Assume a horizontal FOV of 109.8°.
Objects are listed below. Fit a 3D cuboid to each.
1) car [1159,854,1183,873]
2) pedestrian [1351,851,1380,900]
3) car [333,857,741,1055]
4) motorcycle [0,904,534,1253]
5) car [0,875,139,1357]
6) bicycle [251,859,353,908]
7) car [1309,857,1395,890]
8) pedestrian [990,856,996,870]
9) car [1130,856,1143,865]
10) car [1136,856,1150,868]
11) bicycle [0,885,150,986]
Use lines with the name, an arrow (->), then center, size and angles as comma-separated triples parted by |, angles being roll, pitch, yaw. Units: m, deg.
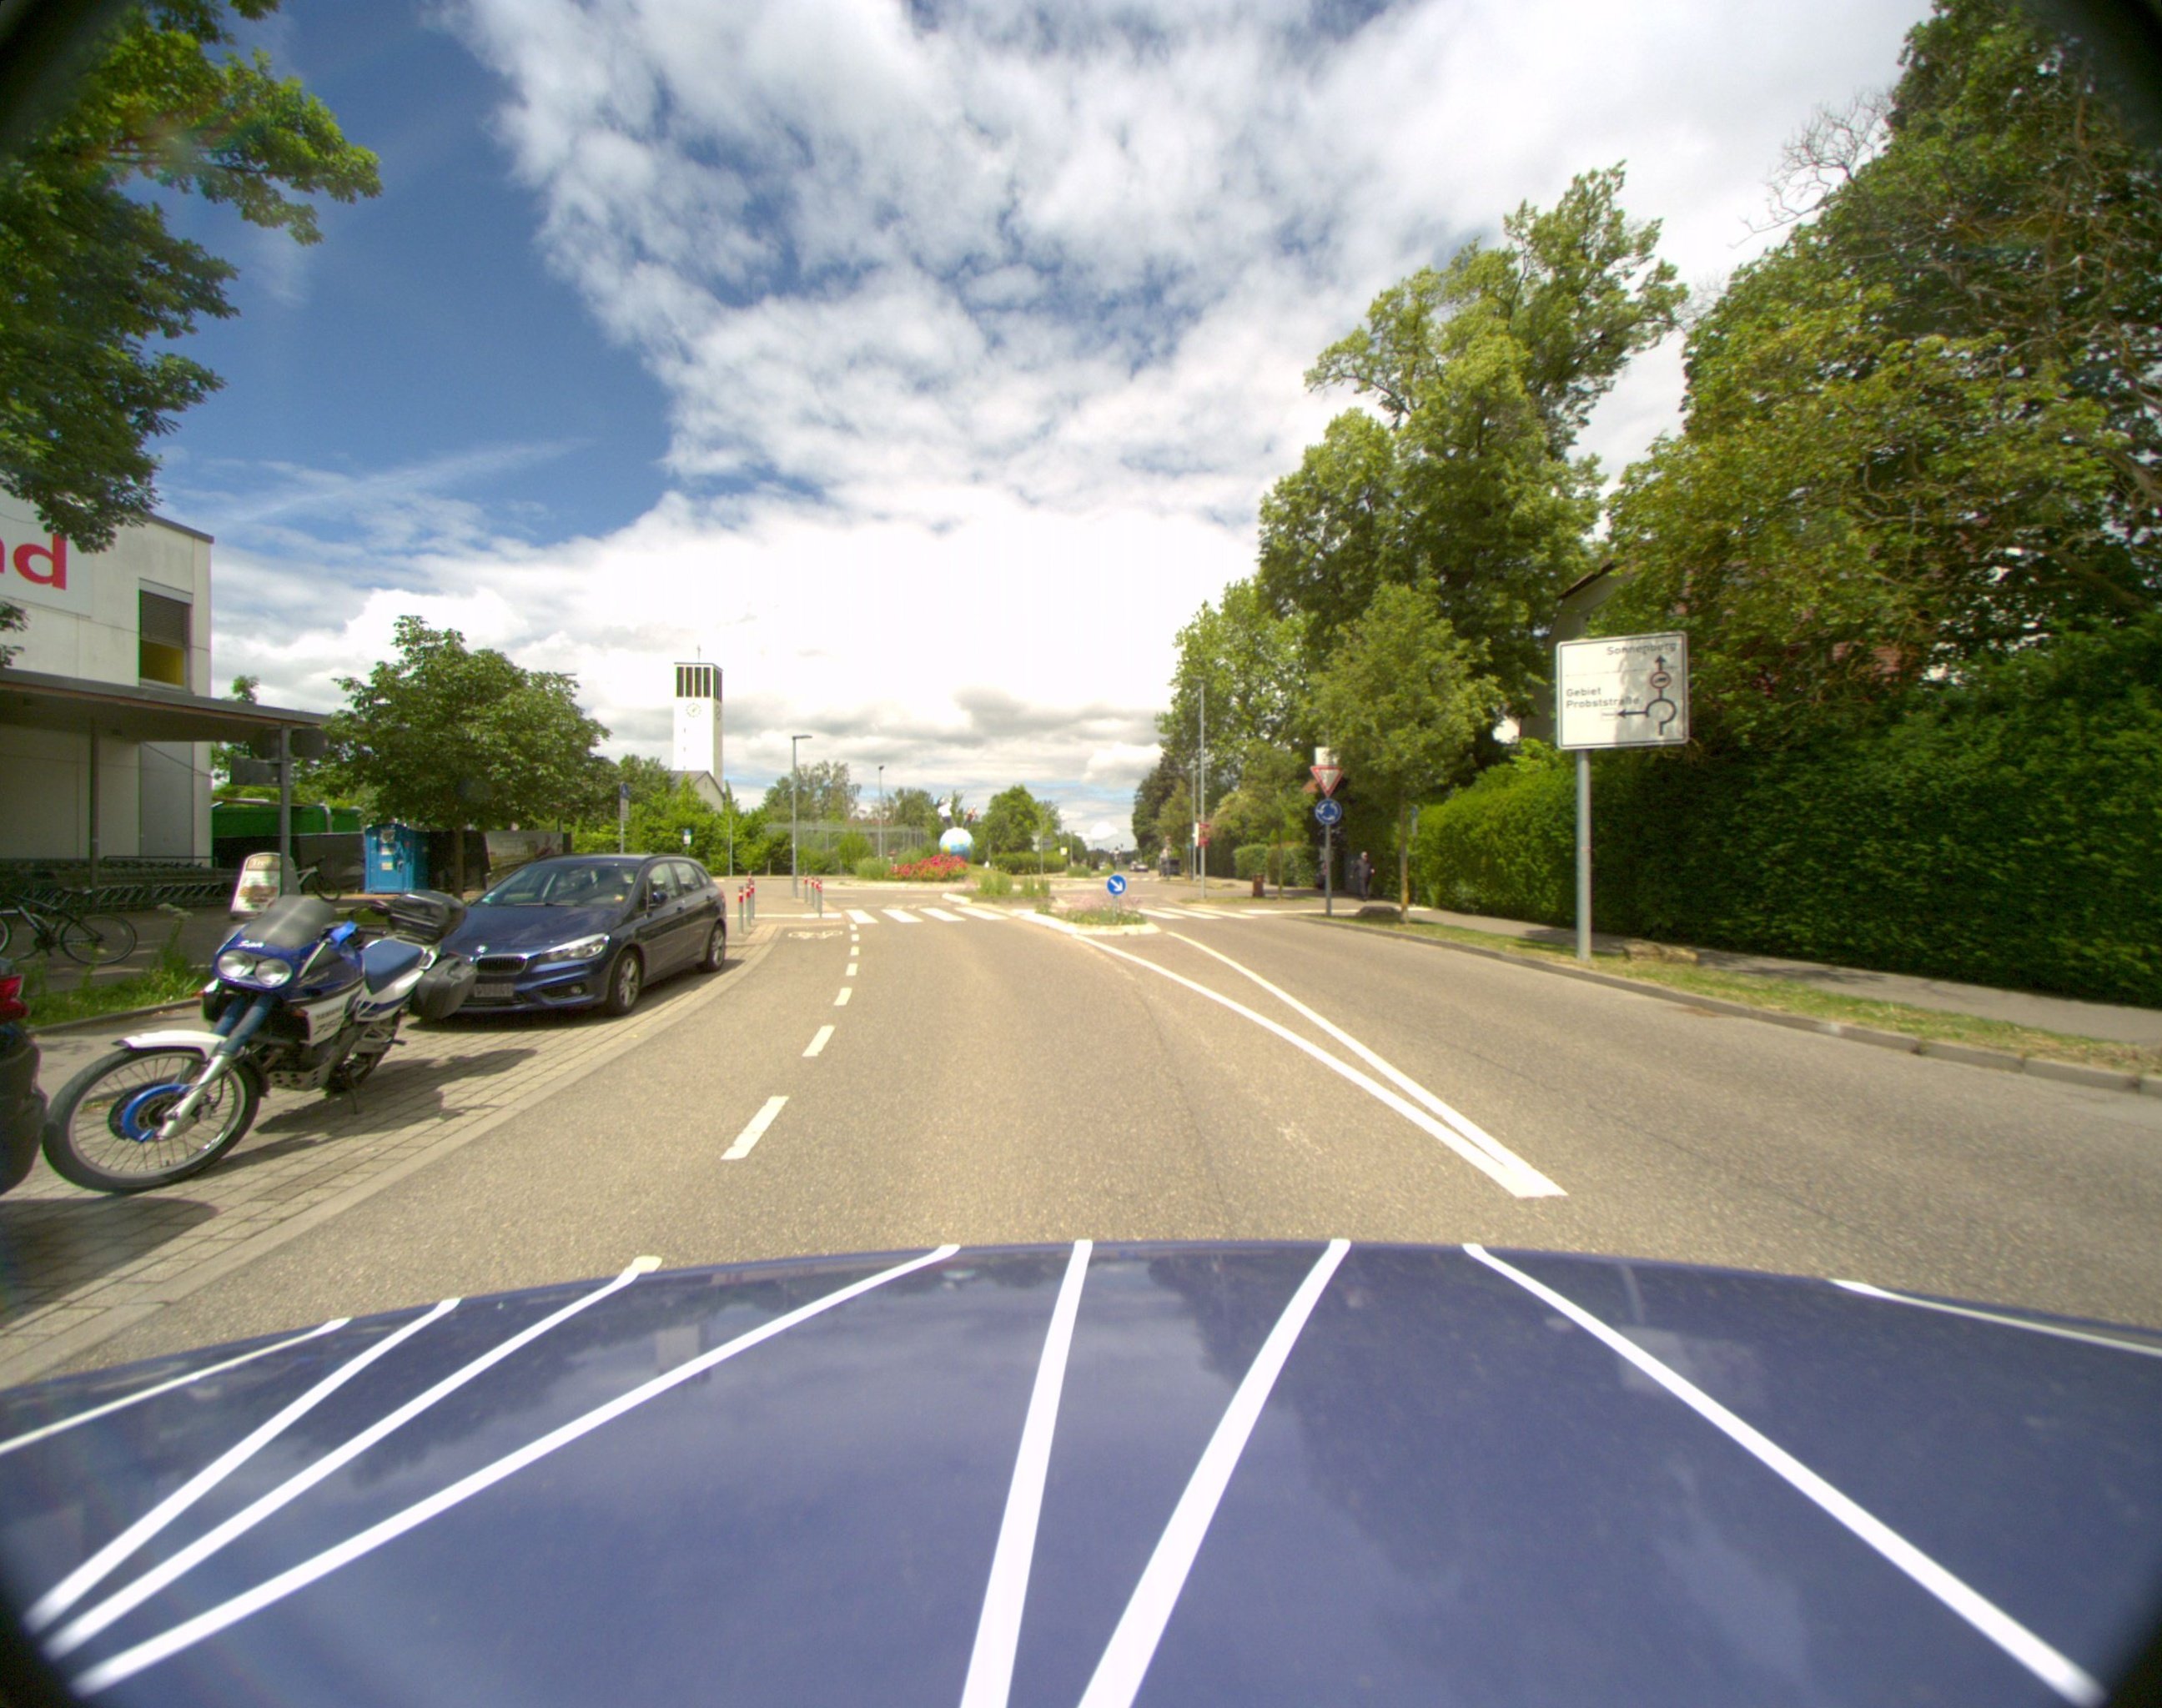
car -> 8.407, 0.853, 71.433 | 1.681, 1.652, 3.999 | 0, 0, -2
pedestrian -> 9.936, 0.741, 26.568 | 0.745, 1.681, 0.694 | -1, 1, 4
car -> -5.498, 0.862, 8.554 | 1.923, 1.569, 4.426 | 1, 0, -9
motorcycle -> -4.372, 1.024, 4.328 | 1.075, 1.298, 2.258 | 2, 0, -8
car -> -4.380, 0.897, 0.463 | 1.884, 1.612, 4.843 | 1, 0, -6
bicycle -> -20.979, 0.780, 20.515 | 1.776, 1.227, 0.713 | -1, 1, -32
car -> 13.187, 0.941, 37.136 | 3.575, 1.389, 1.665 | 2, 1, 3
pedestrian -> -10.508, 1.049, 90.611 | 0.608, 1.687, 0.566 | -1, 1, -12
car -> 10.384, 1.245, 141.628 | 1.999, 1.696, 3.999 | 1, 0, -3
car -> 8.999, 1.114, 110.534 | 1.862, 1.568, 4.000 | -1, 1, 3
bicycle -> -13.196, 1.015, 9.586 | 0.450, 1.148, 1.792 | -1, 1, 14
